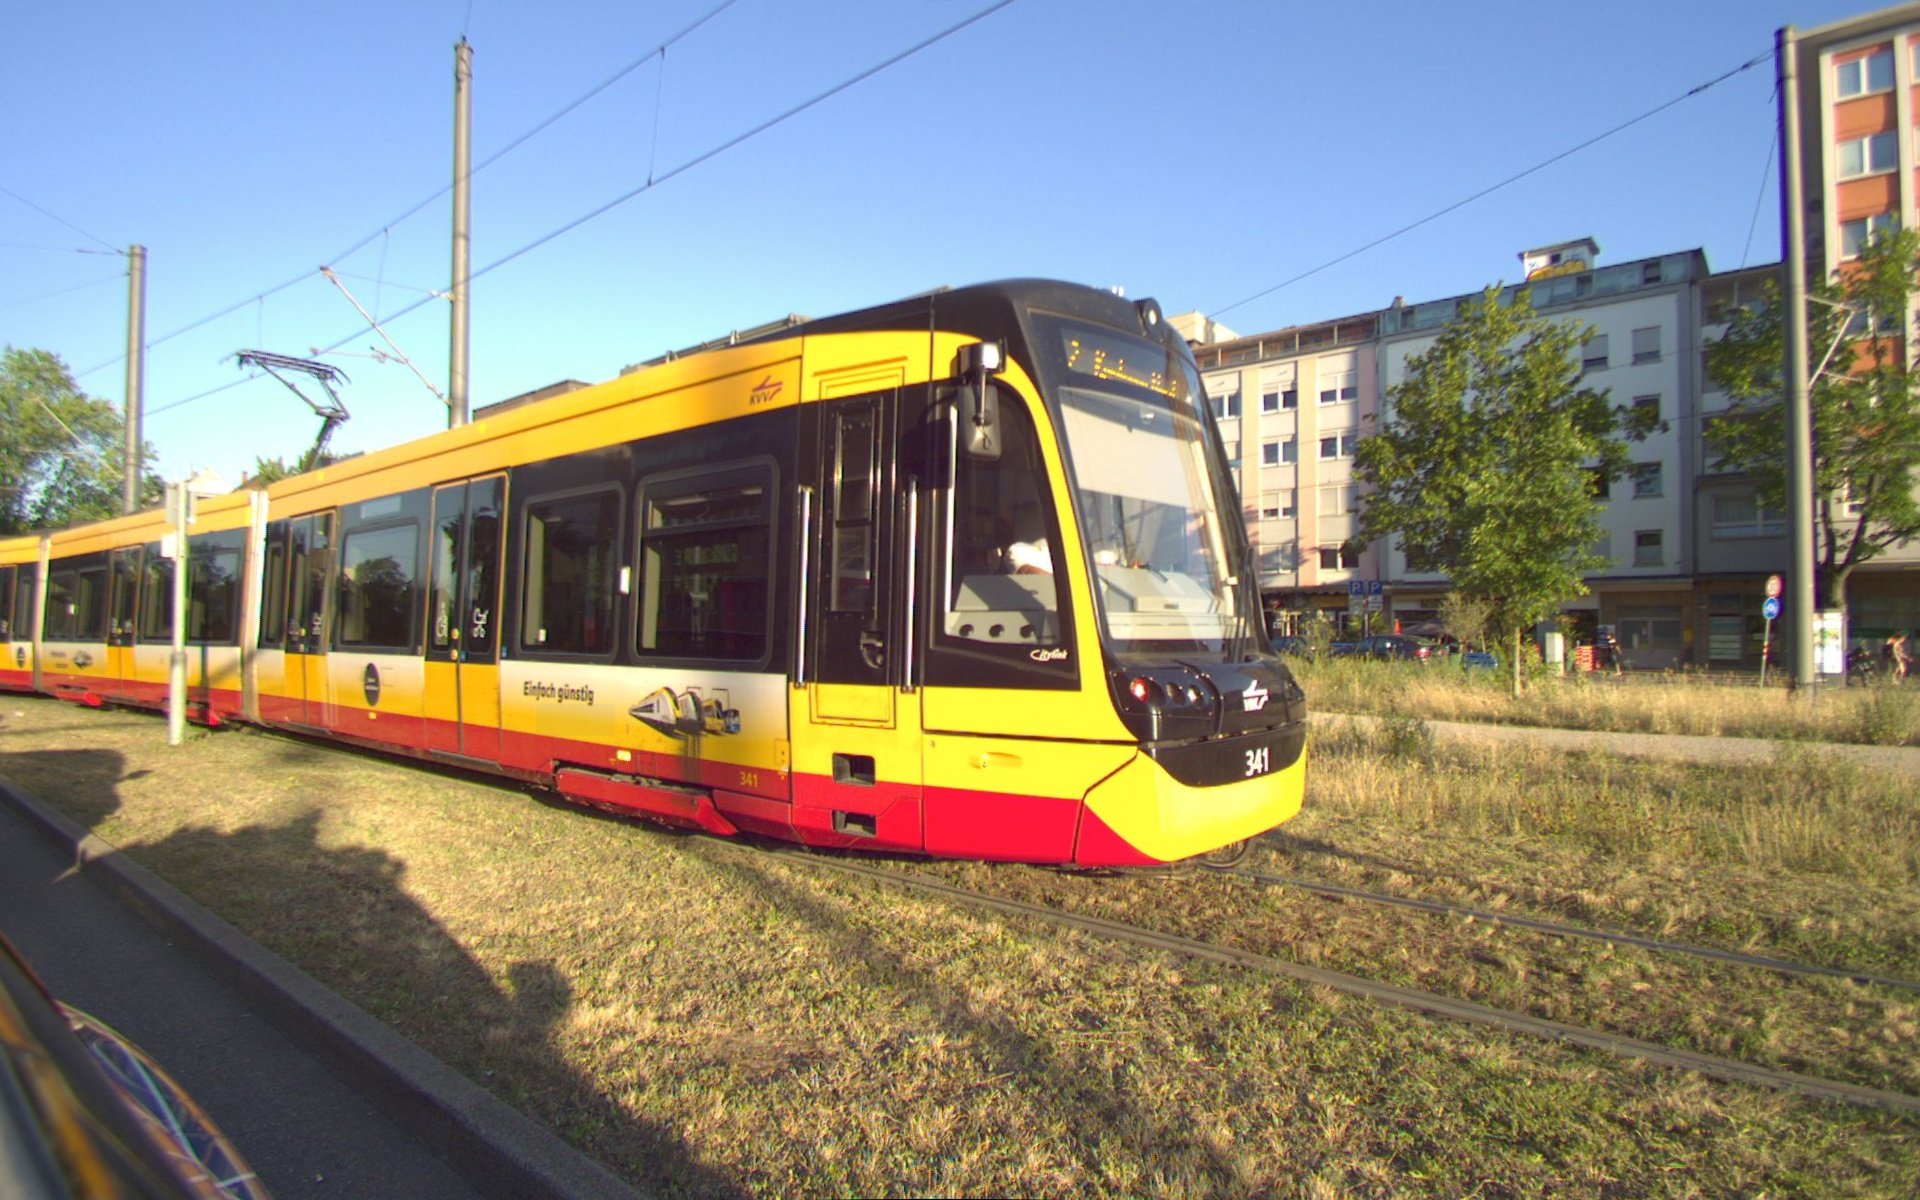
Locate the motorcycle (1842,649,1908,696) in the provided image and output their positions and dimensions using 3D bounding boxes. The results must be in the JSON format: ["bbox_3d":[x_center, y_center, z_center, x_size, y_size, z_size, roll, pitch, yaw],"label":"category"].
[{"bbox_3d":[26.605,2.091,29.444,1.390,1.328,0.376,-2,-2,43],"label":"motorcycle"}]

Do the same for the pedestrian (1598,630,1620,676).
[{"bbox_3d":[25.885,2.107,40.372,0.630,1.782,0.589,-1,-2,41],"label":"pedestrian"}]

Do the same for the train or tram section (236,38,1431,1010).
[{"bbox_3d":[-3.088,-0.172,9.361,13.211,3.767,2.878,-1,-2,41],"label":"train or tram section"}]

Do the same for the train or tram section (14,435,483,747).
[{"bbox_3d":[-12.568,0.016,17.066,12.162,3.767,2.851,-1,-2,37],"label":"train or tram section"}]

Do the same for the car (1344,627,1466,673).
[{"bbox_3d":[17.288,1.923,39.507,1.965,1.697,4.012,1,-2,-28],"label":"car"}]

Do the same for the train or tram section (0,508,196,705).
[{"bbox_3d":[-22.479,0.235,23.721,12.145,3.767,2.884,-1,-2,31],"label":"train or tram section"}]

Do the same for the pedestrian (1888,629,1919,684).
[{"bbox_3d":[30.741,1.814,32.967,0.698,1.764,0.642,-2,-2,41],"label":"pedestrian"}]

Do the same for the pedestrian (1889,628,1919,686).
[{"bbox_3d":[30.335,1.814,32.467,0.704,1.806,0.587,-2,-2,41],"label":"pedestrian"}]
